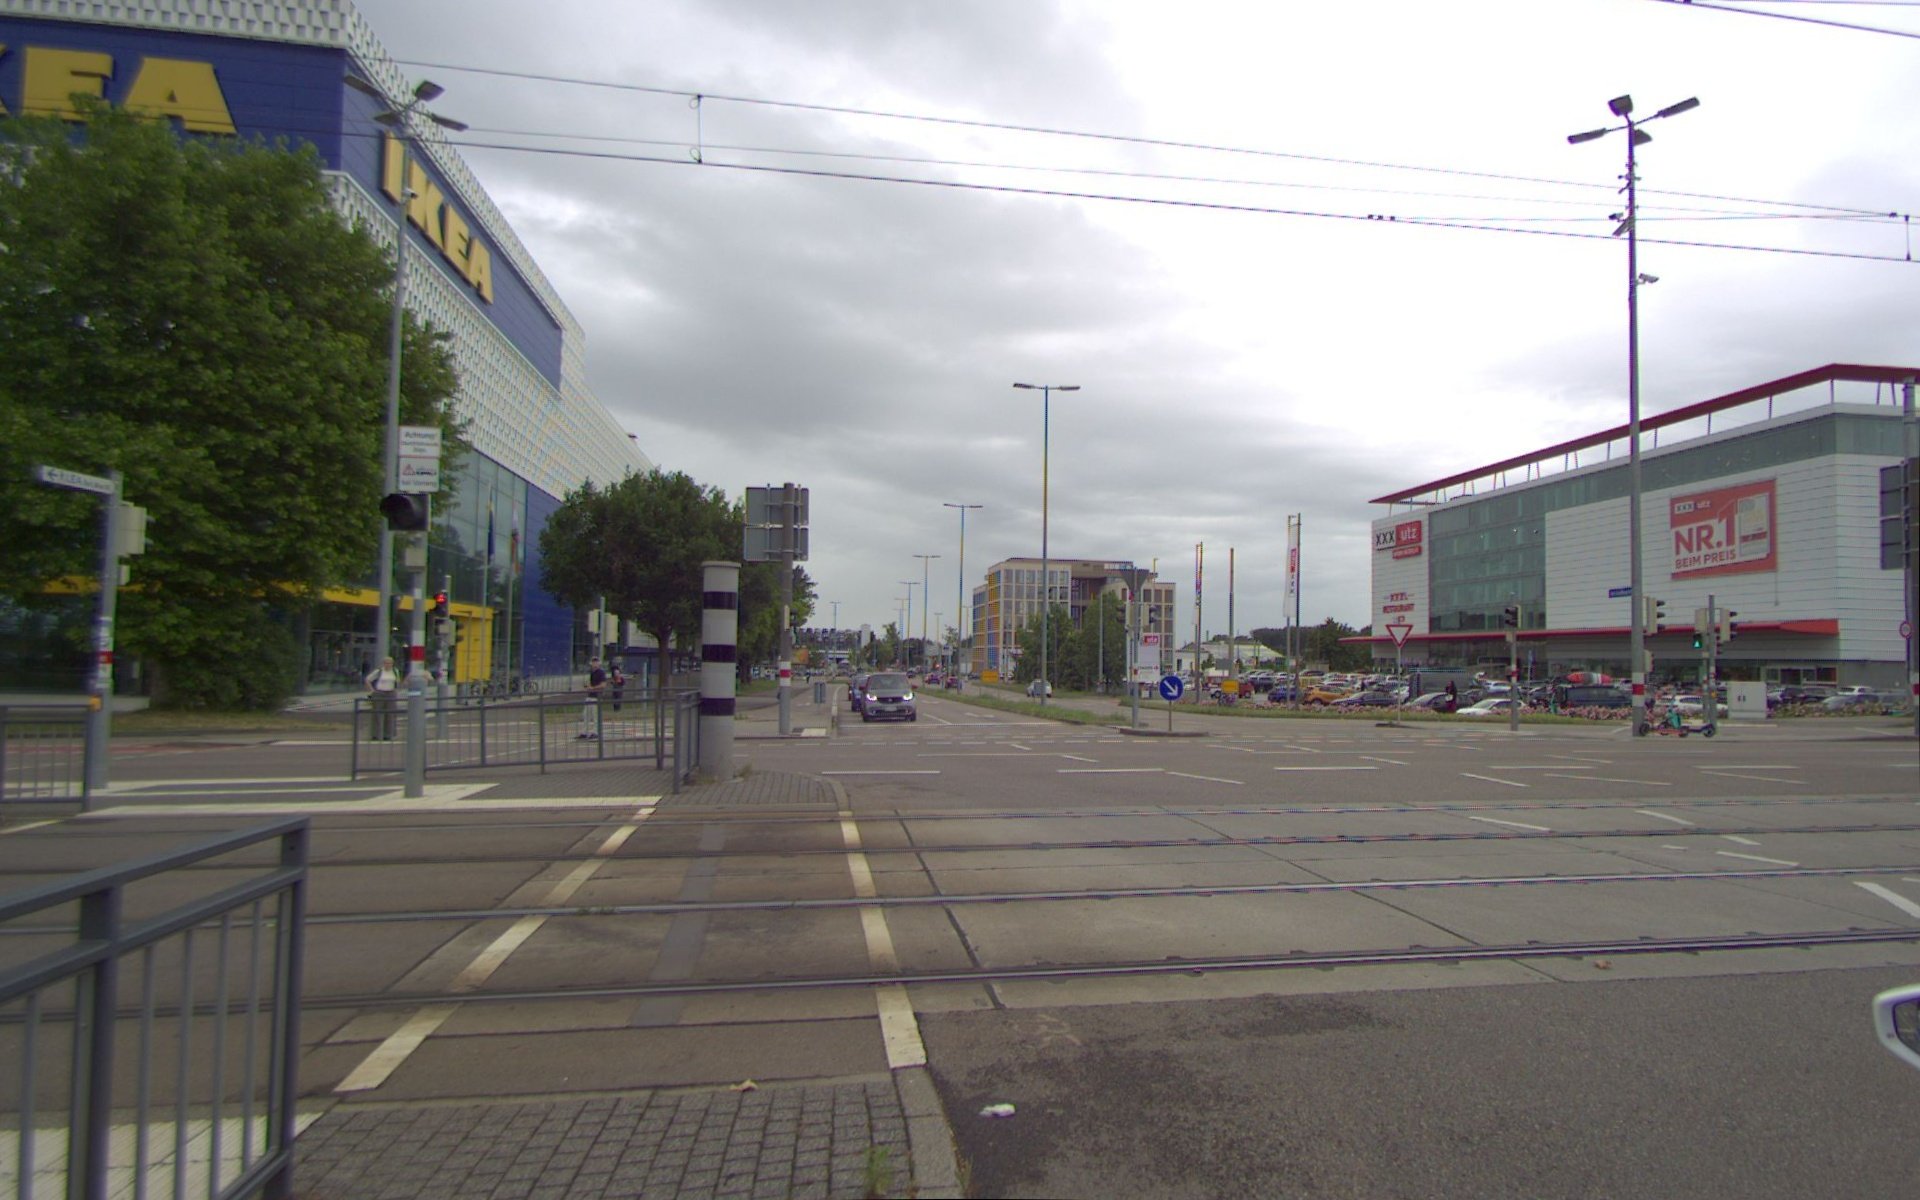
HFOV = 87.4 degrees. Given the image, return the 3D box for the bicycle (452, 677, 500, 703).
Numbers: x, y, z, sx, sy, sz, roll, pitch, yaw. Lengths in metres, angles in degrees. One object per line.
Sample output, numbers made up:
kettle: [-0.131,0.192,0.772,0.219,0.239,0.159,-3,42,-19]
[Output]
bicycle: [-23.605,4.394,48.991,1.994,1.171,0.590,5,-4,-23]

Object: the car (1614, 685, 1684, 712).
car: [50.284,7.169,73.375,3.925,1.885,1.832,2,-4,-6]

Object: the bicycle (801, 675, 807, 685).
bicycle: [-21.810,11.162,140.272,0.633,1.267,2.055,3,-4,-7]

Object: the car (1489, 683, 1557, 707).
car: [40.520,6.809,72.299,3.925,1.575,1.854,2,-4,-6]

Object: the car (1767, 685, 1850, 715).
car: [56.212,6.620,66.611,3.923,1.953,1.950,1,-4,-4]

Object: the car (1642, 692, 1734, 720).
car: [41.575,6.059,57.419,4.131,1.495,1.745,1,-4,-5]

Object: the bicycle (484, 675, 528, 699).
bicycle: [-24.181,4.625,53.529,1.985,1.171,0.593,4,-4,-8]

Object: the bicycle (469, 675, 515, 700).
bicycle: [-23.972,4.488,51.459,1.985,1.171,0.593,4,-4,-8]

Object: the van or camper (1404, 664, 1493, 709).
van or camper: [34.661,6.140,71.344,5.290,3.022,1.992,1,-4,2]

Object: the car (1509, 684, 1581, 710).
car: [40.498,6.693,69.616,3.924,1.691,1.885,1,-4,-5]

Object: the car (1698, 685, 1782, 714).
car: [51.172,6.542,65.906,4.142,1.803,1.865,1,-3,-4]

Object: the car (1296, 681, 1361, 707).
car: [25.786,6.569,70.386,3.922,1.664,1.816,1,-4,-2]

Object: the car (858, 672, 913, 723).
car: [-2.434,3.089,32.345,1.578,1.522,3.207,0,-4,-8]

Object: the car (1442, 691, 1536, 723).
car: [27.688,5.600,52.613,4.044,1.464,1.873,2,-2,-8]

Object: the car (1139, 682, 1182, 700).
car: [20.420,9.270,102.407,3.990,1.561,1.763,2,-2,-5]

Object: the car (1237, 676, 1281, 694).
car: [31.535,8.984,106.028,4.106,1.685,1.833,2,-4,-4]

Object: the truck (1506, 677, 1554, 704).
truck: [52.873,8.369,93.147,3.514,2.417,1.738,2,-4,-8]

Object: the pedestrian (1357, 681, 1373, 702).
pedestrian: [34.678,7.818,86.070,0.925,1.742,0.884,2,-2,-8]

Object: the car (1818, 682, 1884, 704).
car: [65.870,6.872,74.266,3.547,1.580,1.650,0,-3,-5]

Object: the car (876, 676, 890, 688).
car: [-10.794,11.462,140.567,1.901,1.538,4.181,-1,-4,-6]

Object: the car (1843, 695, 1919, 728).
car: [51.987,6.244,56.159,3.928,1.687,1.884,2,-4,-9]

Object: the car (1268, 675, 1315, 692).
car: [32.439,8.189,98.359,3.926,1.554,1.887,2,-4,-7]

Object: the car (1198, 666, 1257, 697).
car: [24.038,7.303,90.351,4.648,2.613,2.169,2,-2,-5]

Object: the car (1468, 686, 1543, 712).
car: [35.958,6.511,66.291,3.921,1.575,1.948,1,-4,-1]

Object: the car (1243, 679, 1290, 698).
car: [31.494,9.093,103.360,4.243,1.766,1.888,2,-2,-4]

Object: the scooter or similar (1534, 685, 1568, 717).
scooter or similar: [24.120,4.126,41.023,0.344,1.248,1.150,7,-7,-44]

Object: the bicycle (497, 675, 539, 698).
bicycle: [-24.331,4.752,55.265,1.992,1.171,0.591,4,-4,-20]

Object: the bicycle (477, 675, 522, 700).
bicycle: [-24.088,4.565,52.555,1.985,1.171,0.593,4,-4,-8]

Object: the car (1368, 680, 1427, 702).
car: [34.466,7.175,79.160,3.832,1.675,1.830,1,-3,-8]

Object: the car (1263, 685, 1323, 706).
car: [24.924,7.164,75.255,3.924,1.474,1.814,2,-4,-6]

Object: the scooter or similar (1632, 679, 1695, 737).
scooter or similar: [15.866,2.435,22.672,0.998,1.271,0.465,-1,-6,7]

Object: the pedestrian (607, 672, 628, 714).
pedestrian: [-13.782,3.733,40.432,0.623,1.663,0.809,2,-5,-9]

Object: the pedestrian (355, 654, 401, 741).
pedestrian: [-12.486,2.096,21.575,0.666,1.820,0.762,3,-6,-24]

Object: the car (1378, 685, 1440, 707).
car: [34.112,7.287,76.374,3.924,1.572,1.863,2,-4,-5]

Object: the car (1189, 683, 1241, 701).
car: [23.664,8.540,93.274,4.305,1.480,1.960,2,-2,-5]

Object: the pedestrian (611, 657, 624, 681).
pedestrian: [-25.681,5.167,75.243,0.667,1.768,0.808,2,-3,-7]

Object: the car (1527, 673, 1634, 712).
car: [36.503,5.447,59.162,4.953,2.193,2.123,1,-4,-2]

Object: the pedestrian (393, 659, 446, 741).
pedestrian: [-11.781,2.176,21.914,0.663,1.733,0.766,1,-4,-3]

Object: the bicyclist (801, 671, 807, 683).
bicyclist: [-21.776,10.791,140.314,0.630,1.597,0.999,3,-4,-7]

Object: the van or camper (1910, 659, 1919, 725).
van or camper: [32.045,2.719,30.119,4.657,2.039,2.127,-1,-6,10]

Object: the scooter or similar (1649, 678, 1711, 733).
scooter or similar: [16.847,2.471,23.511,1.093,1.271,0.321,-1,-5,7]

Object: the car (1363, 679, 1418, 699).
car: [38.184,7.884,89.098,4.172,1.488,1.738,2,-2,-5]

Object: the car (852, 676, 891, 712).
car: [-3.920,4.097,44.016,1.578,1.463,4.141,0,-4,-7]

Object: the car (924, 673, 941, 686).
car: [-4.296,12.244,155.280,1.964,2.039,3.994,1,-4,-11]

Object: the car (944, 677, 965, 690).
car: [-0.696,9.840,118.243,1.957,1.446,4.239,2,-5,-7]

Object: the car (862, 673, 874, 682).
car: [-16.649,13.963,181.535,1.901,1.505,4.436,0,-4,-7]

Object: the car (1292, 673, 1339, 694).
car: [33.125,7.803,93.615,3.677,1.791,1.733,2,-2,-5]

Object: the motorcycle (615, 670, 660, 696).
motorcycle: [-18.947,4.906,59.039,2.462,1.372,0.797,5,-4,-19]

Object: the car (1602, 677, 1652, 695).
car: [64.340,8.268,96.916,3.735,1.574,1.829,2,-2,-7]

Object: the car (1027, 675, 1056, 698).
car: [7.473,7.953,92.546,1.962,1.775,4.178,2,-2,-4]

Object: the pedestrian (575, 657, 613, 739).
pedestrian: [-8.202,2.198,22.534,0.652,1.786,0.687,-1,-7,-9]

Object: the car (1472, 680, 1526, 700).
car: [48.408,8.100,90.211,3.927,1.676,1.833,2,-4,-8]

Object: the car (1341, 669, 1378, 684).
car: [45.748,8.742,115.003,3.511,1.607,1.740,2,-4,-2]

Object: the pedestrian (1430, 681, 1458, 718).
pedestrian: [21.400,4.405,44.404,0.772,1.617,0.714,3,-6,-20]

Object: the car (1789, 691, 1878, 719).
car: [51.086,6.130,58.793,3.928,1.536,1.831,1,-4,-10]

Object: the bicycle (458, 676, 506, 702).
bicycle: [-23.949,4.446,50.349,1.985,1.171,0.593,4,-4,-8]

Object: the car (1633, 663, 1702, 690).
car: [54.073,5.861,76.804,3.924,2.039,1.999,0,-4,-5]
